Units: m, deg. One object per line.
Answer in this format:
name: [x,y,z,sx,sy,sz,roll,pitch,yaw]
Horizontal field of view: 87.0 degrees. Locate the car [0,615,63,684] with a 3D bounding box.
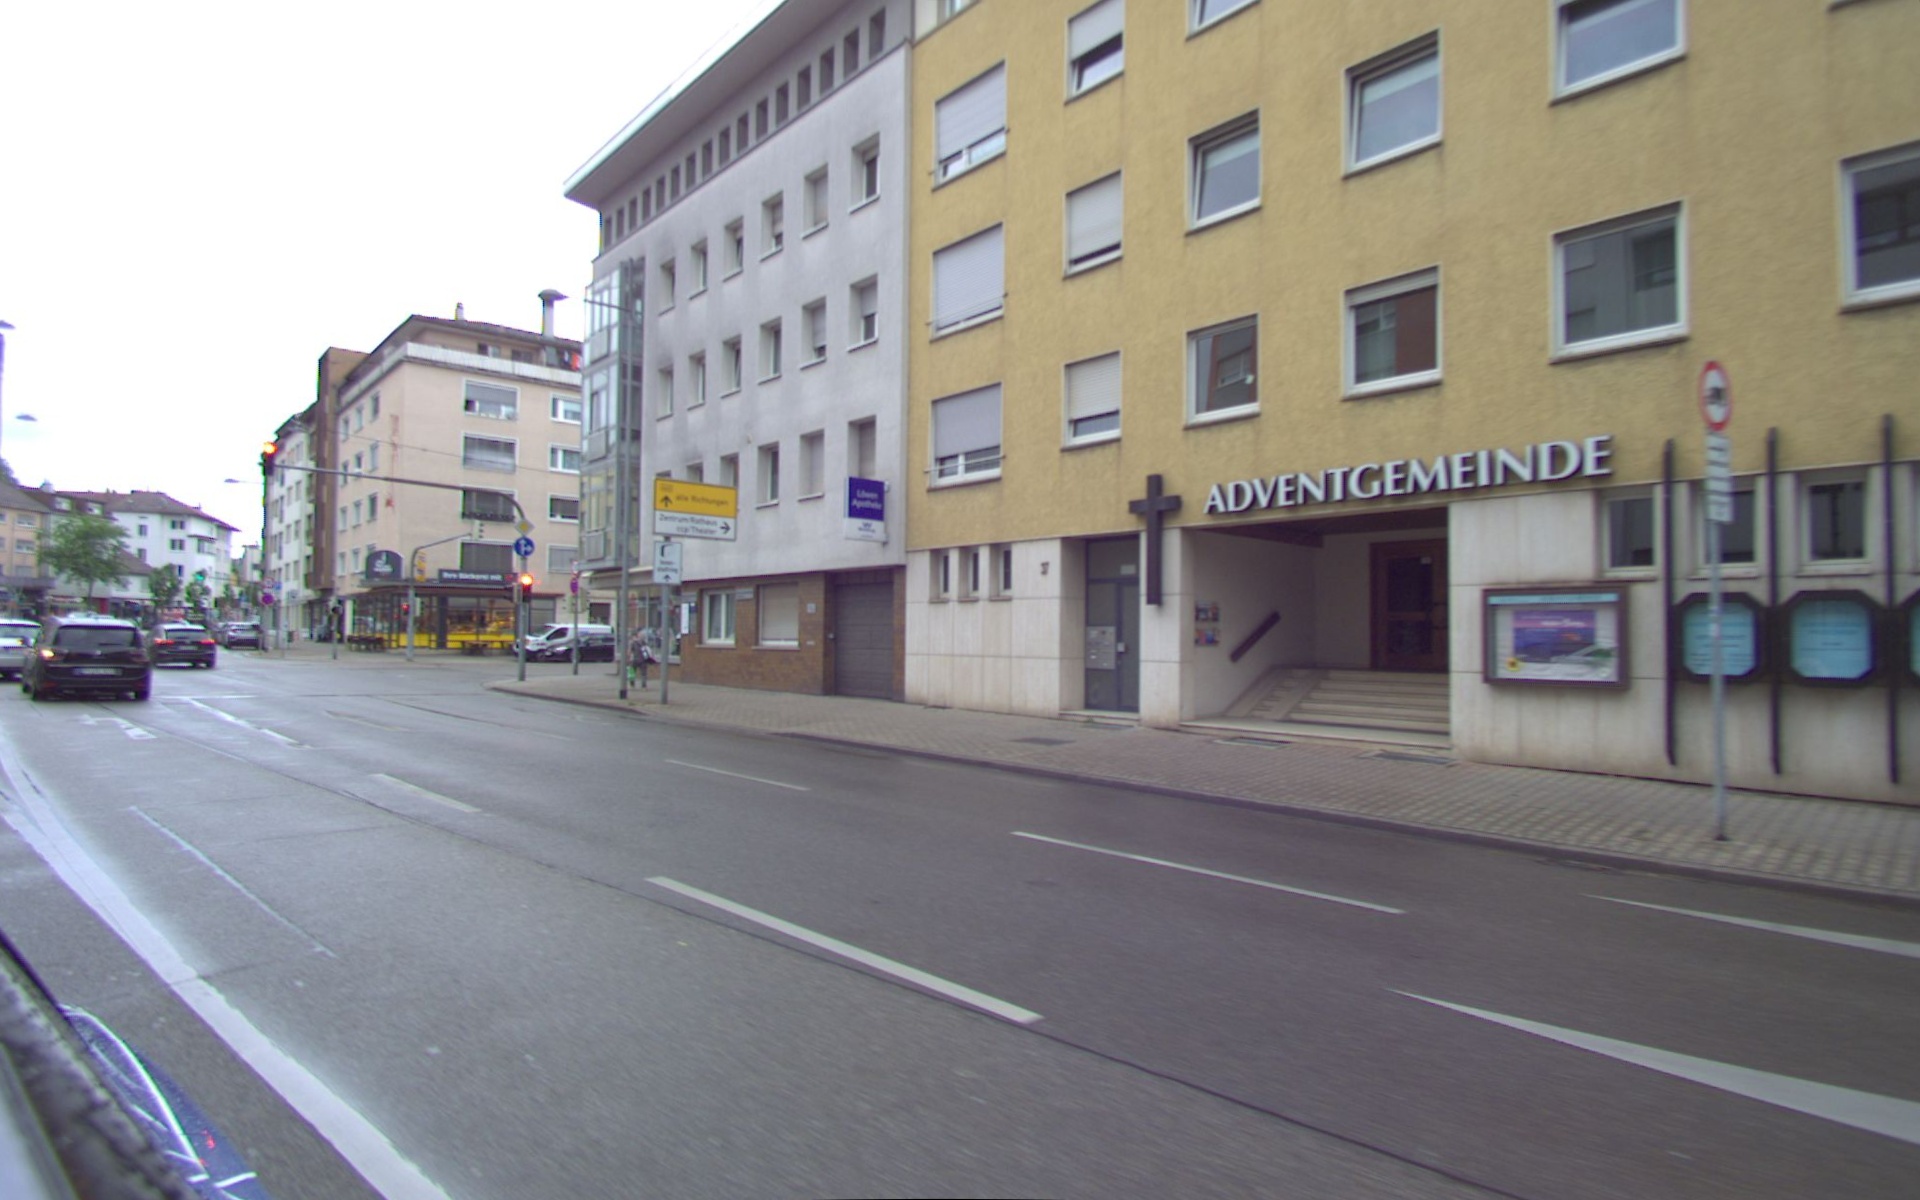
car: [-24.164,1.199,25.037,3.986,1.634,1.817,-1,-3,31]

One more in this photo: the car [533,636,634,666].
car: [-17.486,2.358,47.116,1.842,1.300,4.040,-2,-3,43]

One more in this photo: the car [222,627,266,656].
car: [-41.356,2.368,58.434,1.807,1.634,4.008,2,-3,-38]

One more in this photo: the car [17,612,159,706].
car: [-17.727,1.145,20.510,1.852,1.697,4.002,3,-3,-45]

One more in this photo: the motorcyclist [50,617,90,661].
motorcyclist: [-27.506,1.213,31.288,0.859,1.338,0.493,3,-3,-40]

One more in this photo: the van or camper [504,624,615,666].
van or camper: [-20.777,2.309,52.598,4.953,2.029,2.002,3,-1,-43]

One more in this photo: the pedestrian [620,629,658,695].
pedestrian: [-8.034,1.530,25.352,0.773,1.600,0.675,-1,-1,-28]

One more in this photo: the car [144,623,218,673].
car: [-26.747,1.604,34.687,1.723,1.608,4.005,3,-3,-41]

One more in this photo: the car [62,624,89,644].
car: [-84.278,3.257,96.432,1.645,1.785,4.008,3,-4,-38]

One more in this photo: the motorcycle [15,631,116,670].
motorcycle: [-27.515,1.546,31.195,2.257,1.172,0.775,2,-3,-39]
